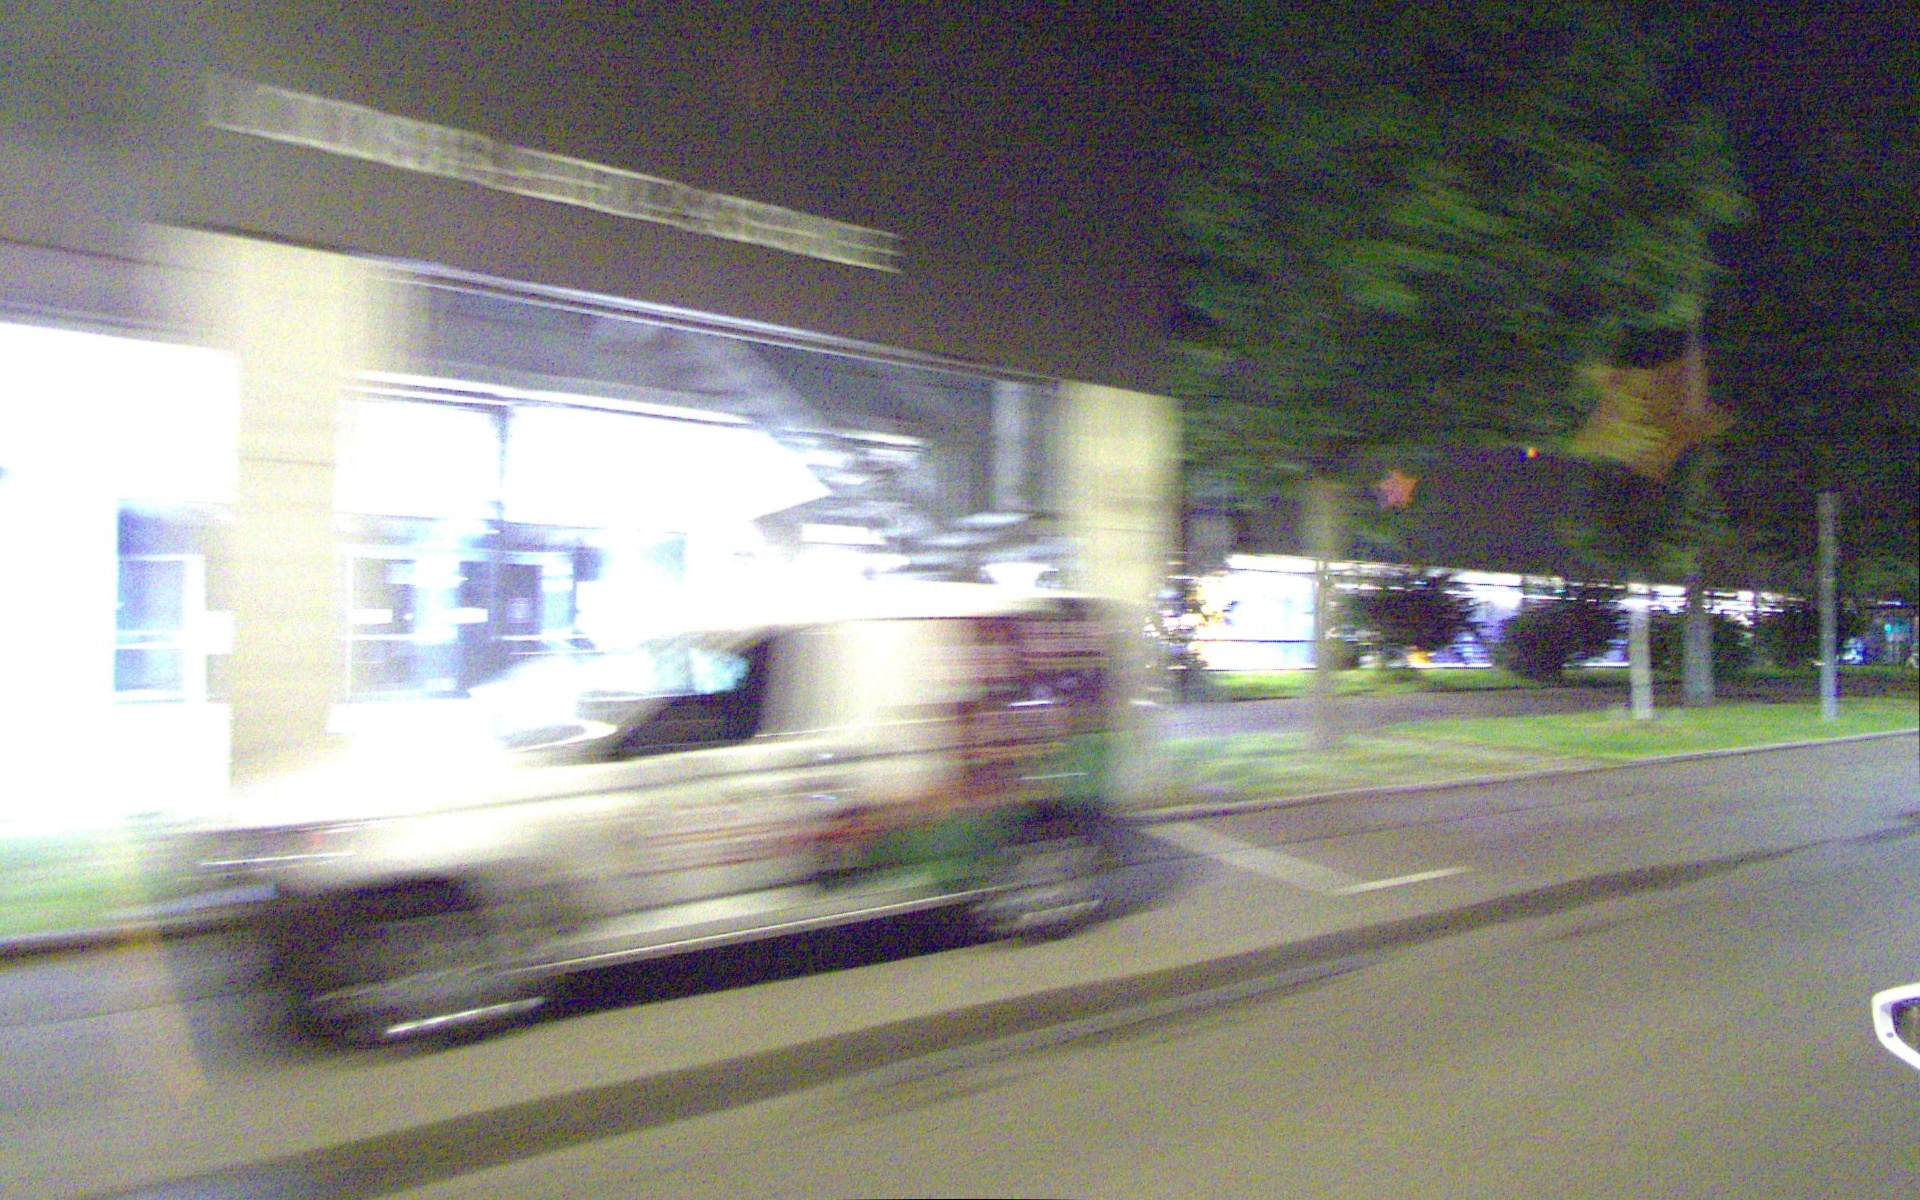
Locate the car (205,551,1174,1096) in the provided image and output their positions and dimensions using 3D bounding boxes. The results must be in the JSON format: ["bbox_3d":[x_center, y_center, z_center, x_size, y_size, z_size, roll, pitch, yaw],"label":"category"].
[{"bbox_3d":[-1.129,0.759,5.174,4.158,1.836,1.814,1,2,-29],"label":"car"}]

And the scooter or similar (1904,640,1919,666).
[{"bbox_3d":[39.971,2.220,41.247,0.537,1.021,1.667,1,1,-27],"label":"scooter or similar"}]
